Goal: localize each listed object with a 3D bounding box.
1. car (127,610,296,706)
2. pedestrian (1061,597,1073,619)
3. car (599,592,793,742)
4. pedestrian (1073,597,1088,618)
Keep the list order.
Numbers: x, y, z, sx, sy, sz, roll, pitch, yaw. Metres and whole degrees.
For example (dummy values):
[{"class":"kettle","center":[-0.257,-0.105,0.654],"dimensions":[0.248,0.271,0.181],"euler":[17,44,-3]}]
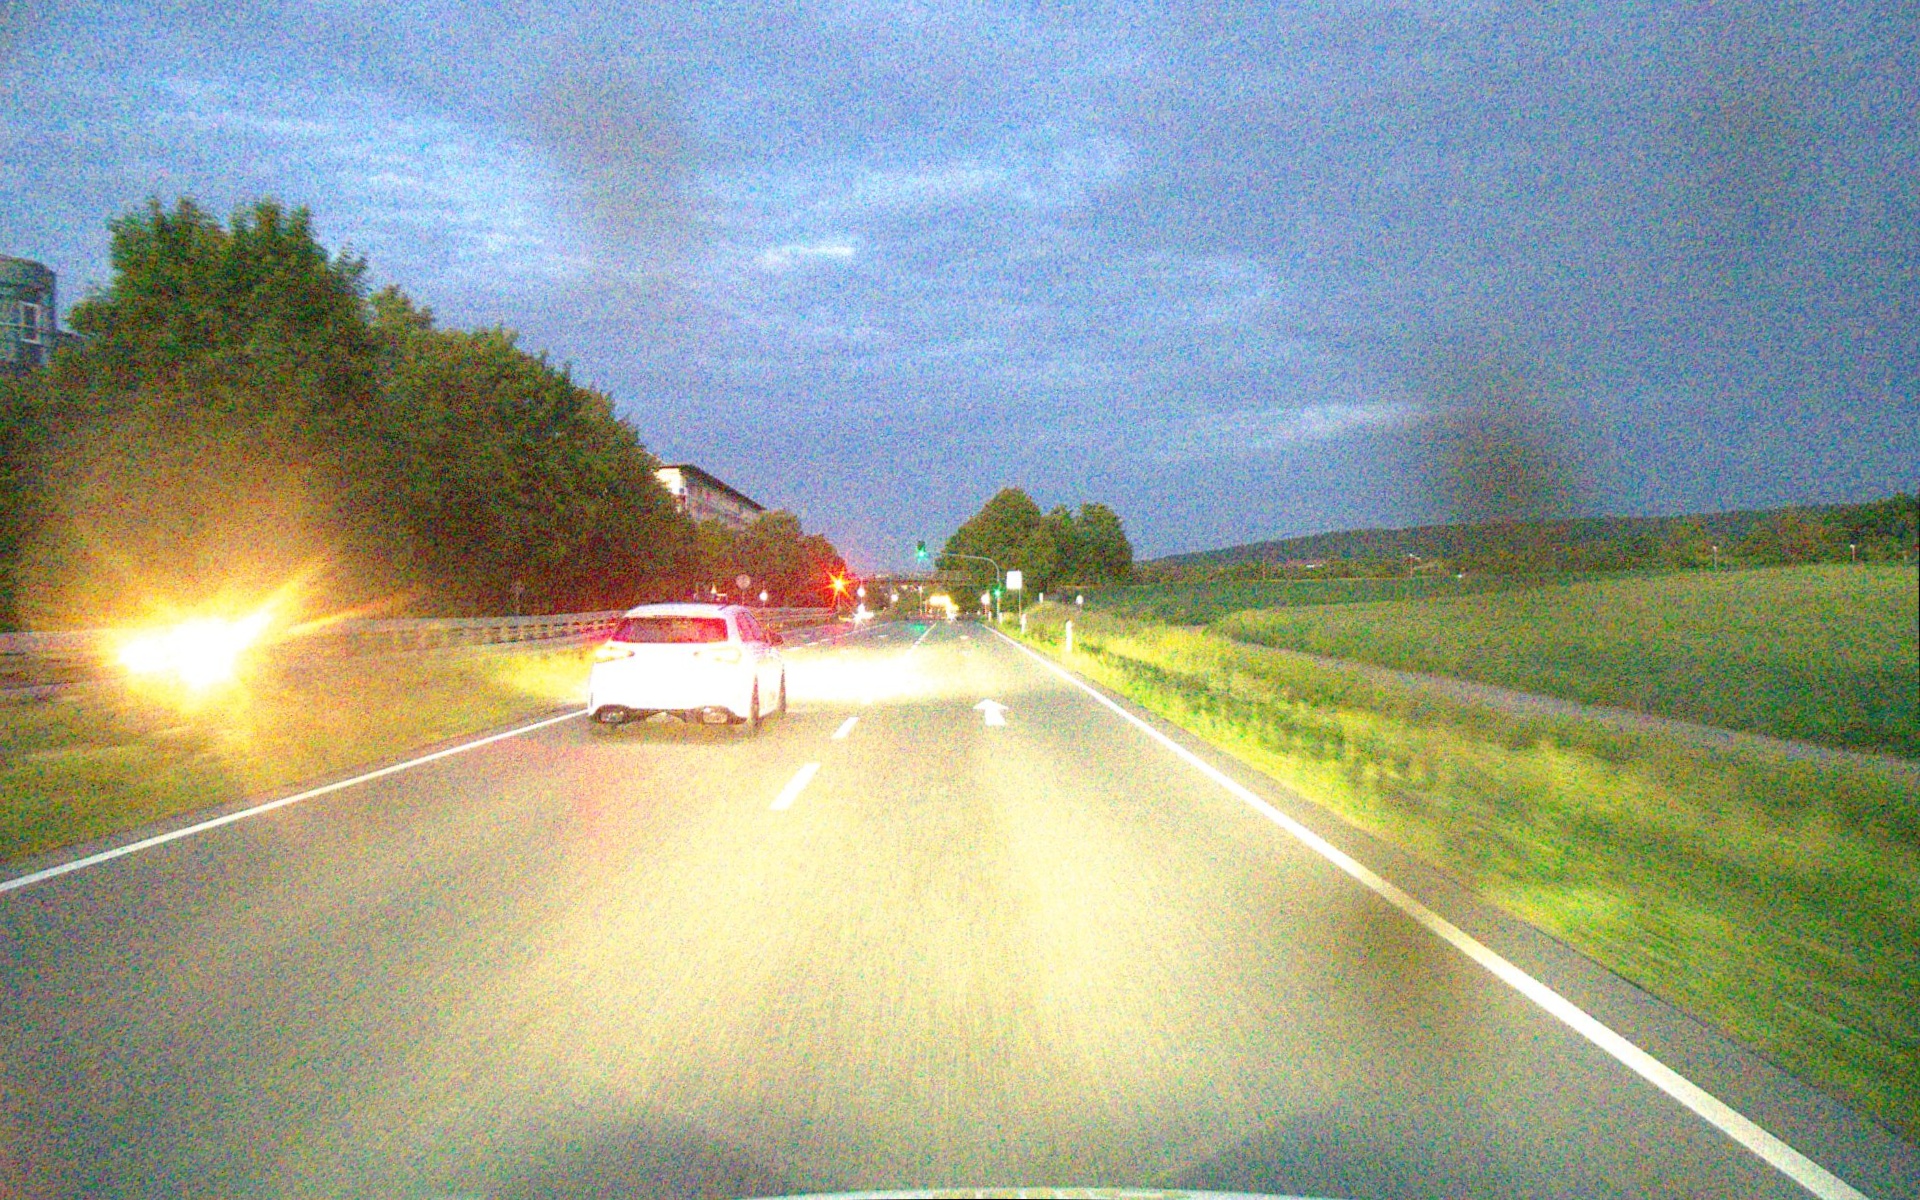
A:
[{"class":"car","center":[-15.143,1.131,33.694],"dimensions":[1.635,1.789,3.999],"euler":[0,0,-1]},{"class":"pedestrian","center":[8.938,0.652,137.832],"dimensions":[0.903,1.824,1.106],"euler":[0,0,0]},{"class":"car","center":[-2.924,0.676,19.172],"dimensions":[1.608,1.516,4.578],"euler":[0,0,-1]},{"class":"pedestrian","center":[10.027,0.624,137.582],"dimensions":[1.068,1.753,1.260],"euler":[0,-1,-1]}]
